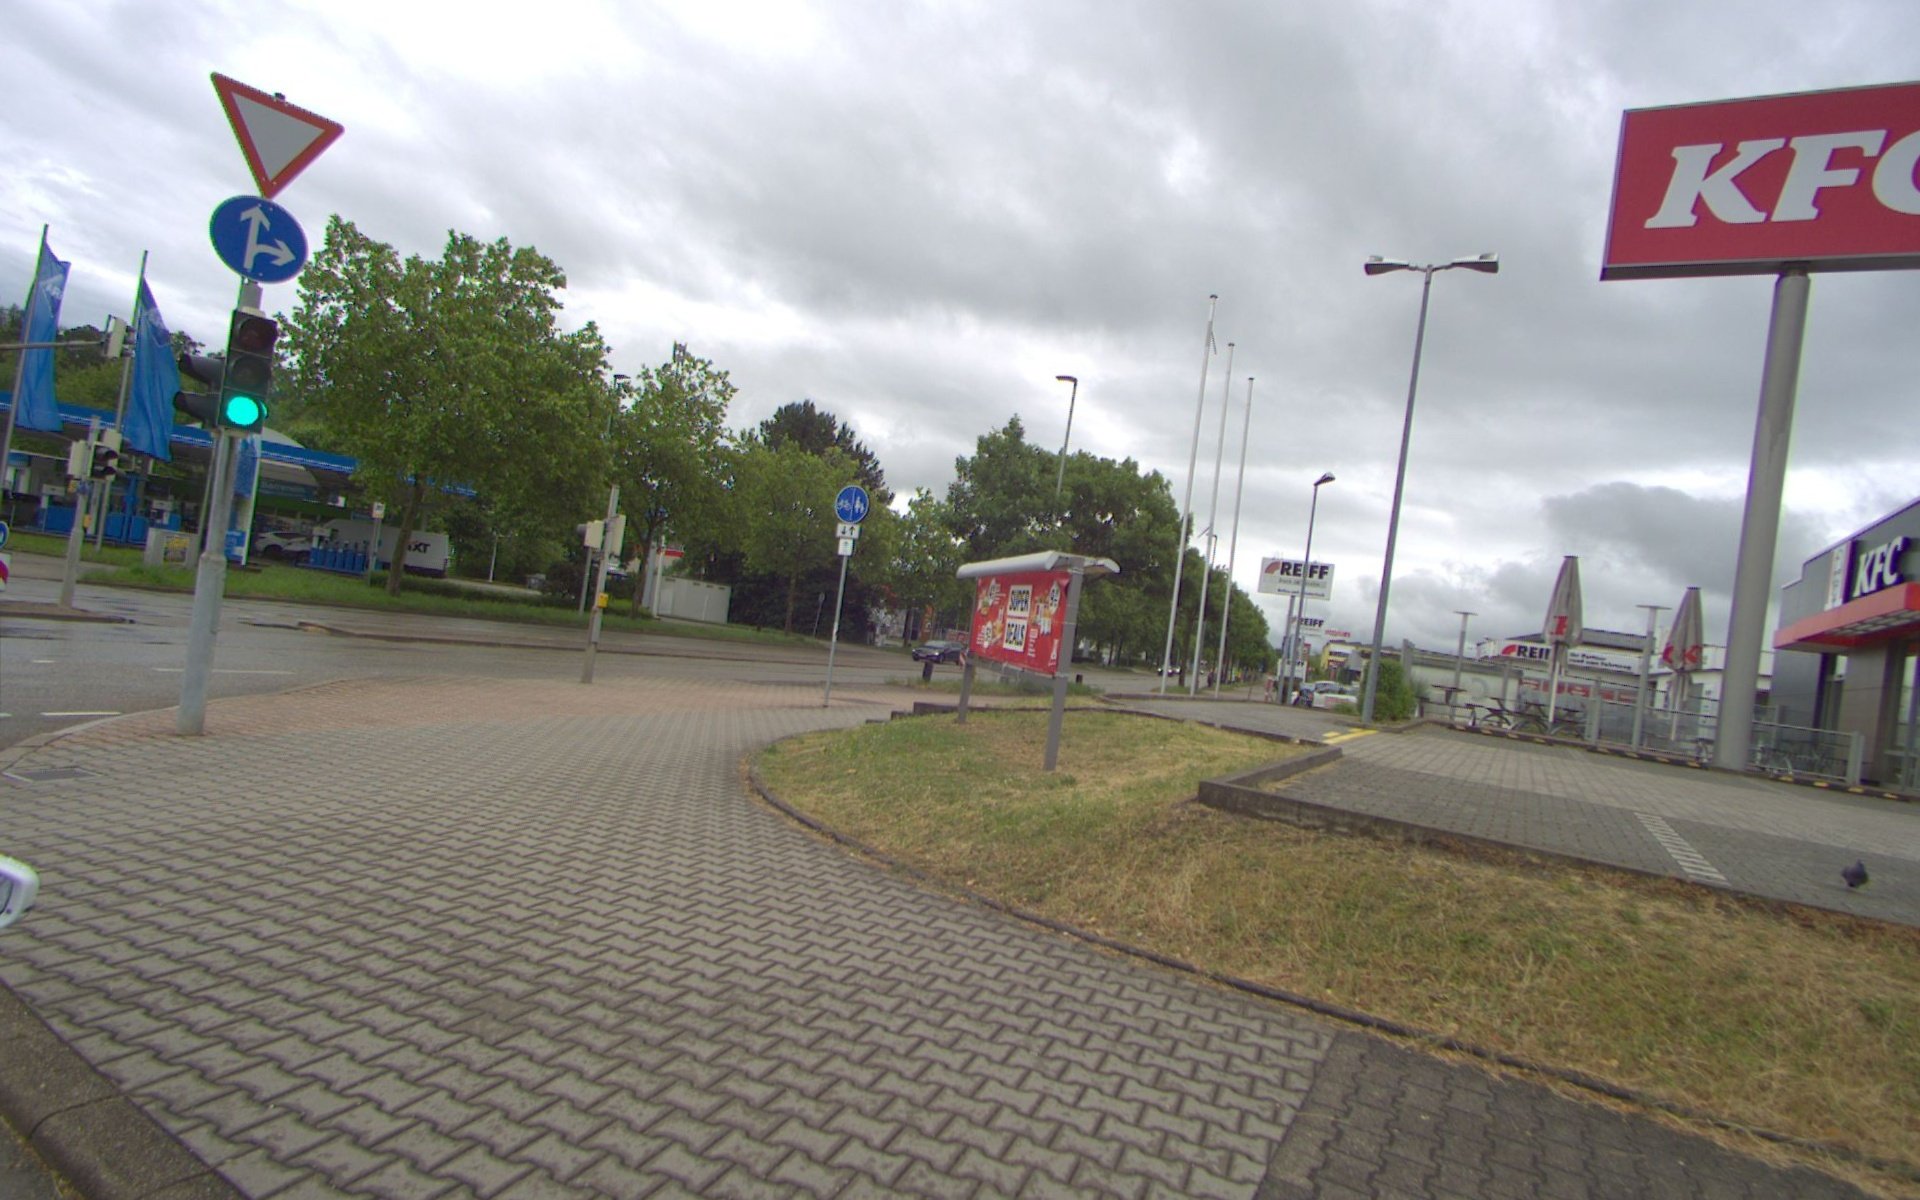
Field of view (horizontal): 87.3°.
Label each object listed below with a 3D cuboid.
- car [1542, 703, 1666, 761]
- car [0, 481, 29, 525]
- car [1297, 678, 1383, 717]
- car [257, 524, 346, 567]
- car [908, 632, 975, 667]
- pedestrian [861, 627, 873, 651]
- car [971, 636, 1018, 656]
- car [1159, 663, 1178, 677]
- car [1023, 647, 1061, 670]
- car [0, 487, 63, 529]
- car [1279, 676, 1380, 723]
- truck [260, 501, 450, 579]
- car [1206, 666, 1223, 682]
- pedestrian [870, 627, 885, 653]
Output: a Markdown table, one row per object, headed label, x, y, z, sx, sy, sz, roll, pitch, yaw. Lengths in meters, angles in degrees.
| label | x | y | z | sx | sy | sz | roll | pitch | yaw |
| --- | --- | --- | --- | --- | --- | --- | --- | --- | --- |
| car | 26.145 | 5.351 | 41.022 | 3.931 | 1.699 | 1.956 | 6 | -2 | 28 |
| car | -45.745 | -4.745 | 46.010 | 4.078 | 1.828 | 1.935 | 9 | -2 | -25 |
| car | 20.388 | 5.225 | 54.028 | 3.937 | 1.540 | 1.714 | 5 | -2 | 34 |
| car | -34.618 | -2.827 | 52.987 | 3.523 | 1.599 | 1.679 | 10 | -3 | -27 |
| car | -1.080 | 2.980 | 60.429 | 1.965 | 1.524 | 4.734 | 6 | -4 | 26 |
| pedestrian | -6.873 | 2.909 | 74.155 | 0.504 | 1.702 | 0.541 | 6 | -1 | 21 |
| car | 3.780 | 4.998 | 109.382 | 4.640 | 1.524 | 2.004 | 6 | -3 | 13 |
| car | 29.366 | 9.898 | 141.657 | 1.784 | 1.579 | 4.602 | 6 | -3 | 21 |
| car | 6.442 | 4.581 | 78.804 | 1.619 | 1.525 | 3.894 | 6 | -2 | 24 |
| car | -48.073 | -4.760 | 50.642 | 3.959 | 1.748 | 1.781 | 8 | -2 | -31 |
| car | 17.342 | 4.633 | 47.189 | 4.115 | 1.570 | 1.889 | 6 | -2 | 28 |
| truck | -30.007 | -2.896 | 50.209 | 7.797 | 2.707 | 2.137 | 8 | -1 | -33 |
| car | 35.989 | 10.478 | 142.299 | 1.718 | 2.037 | 4.003 | 7 | -2 | 19 |
| pedestrian | -6.056 | 2.968 | 74.161 | 0.657 | 1.787 | 0.581 | 8 | 0 | 42 |
